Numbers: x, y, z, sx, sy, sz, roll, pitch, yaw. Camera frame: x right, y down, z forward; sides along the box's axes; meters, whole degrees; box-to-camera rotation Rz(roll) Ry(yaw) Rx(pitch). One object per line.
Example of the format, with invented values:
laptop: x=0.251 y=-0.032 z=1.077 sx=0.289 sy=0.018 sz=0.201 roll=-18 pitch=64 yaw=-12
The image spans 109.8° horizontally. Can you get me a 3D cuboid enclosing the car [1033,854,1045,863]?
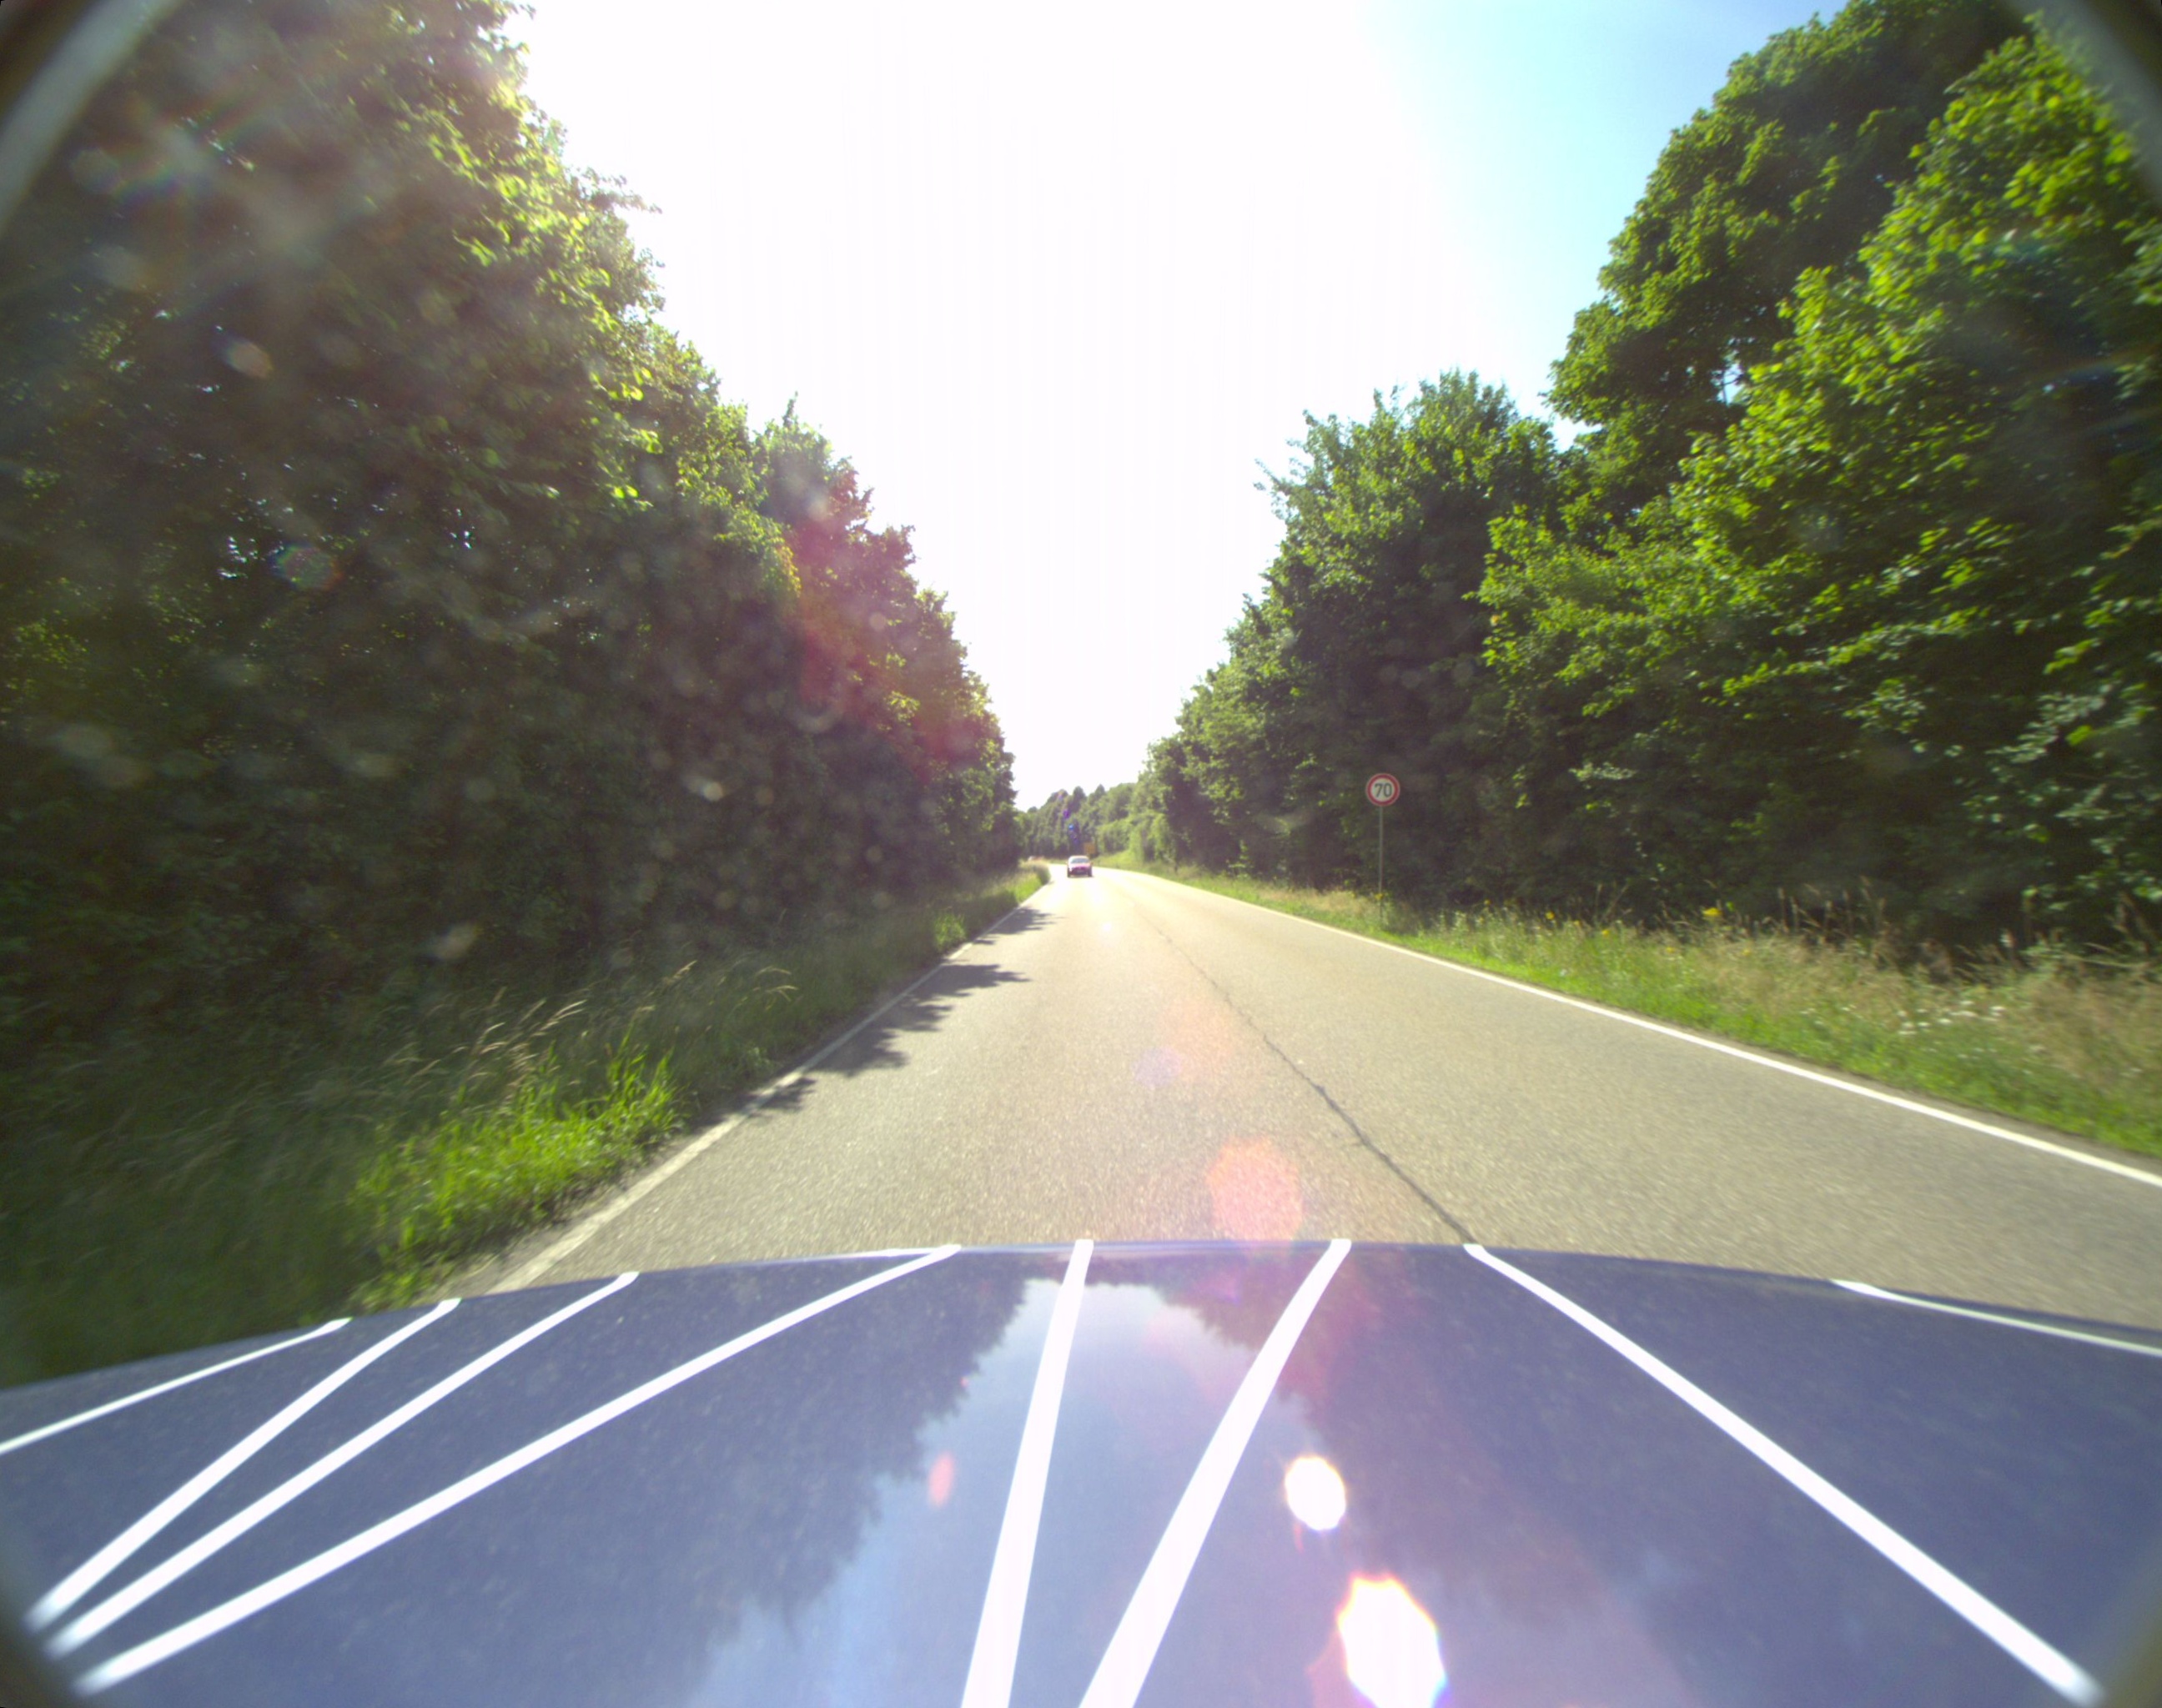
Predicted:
car: x=-7.885 y=0.840 z=141.142 sx=1.785 sy=1.517 sz=4.180 roll=-2 pitch=0 yaw=-9

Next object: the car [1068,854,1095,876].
car: x=0.004 y=0.780 z=54.586 sx=1.816 sy=1.488 sz=4.285 roll=-1 pitch=0 yaw=-1
